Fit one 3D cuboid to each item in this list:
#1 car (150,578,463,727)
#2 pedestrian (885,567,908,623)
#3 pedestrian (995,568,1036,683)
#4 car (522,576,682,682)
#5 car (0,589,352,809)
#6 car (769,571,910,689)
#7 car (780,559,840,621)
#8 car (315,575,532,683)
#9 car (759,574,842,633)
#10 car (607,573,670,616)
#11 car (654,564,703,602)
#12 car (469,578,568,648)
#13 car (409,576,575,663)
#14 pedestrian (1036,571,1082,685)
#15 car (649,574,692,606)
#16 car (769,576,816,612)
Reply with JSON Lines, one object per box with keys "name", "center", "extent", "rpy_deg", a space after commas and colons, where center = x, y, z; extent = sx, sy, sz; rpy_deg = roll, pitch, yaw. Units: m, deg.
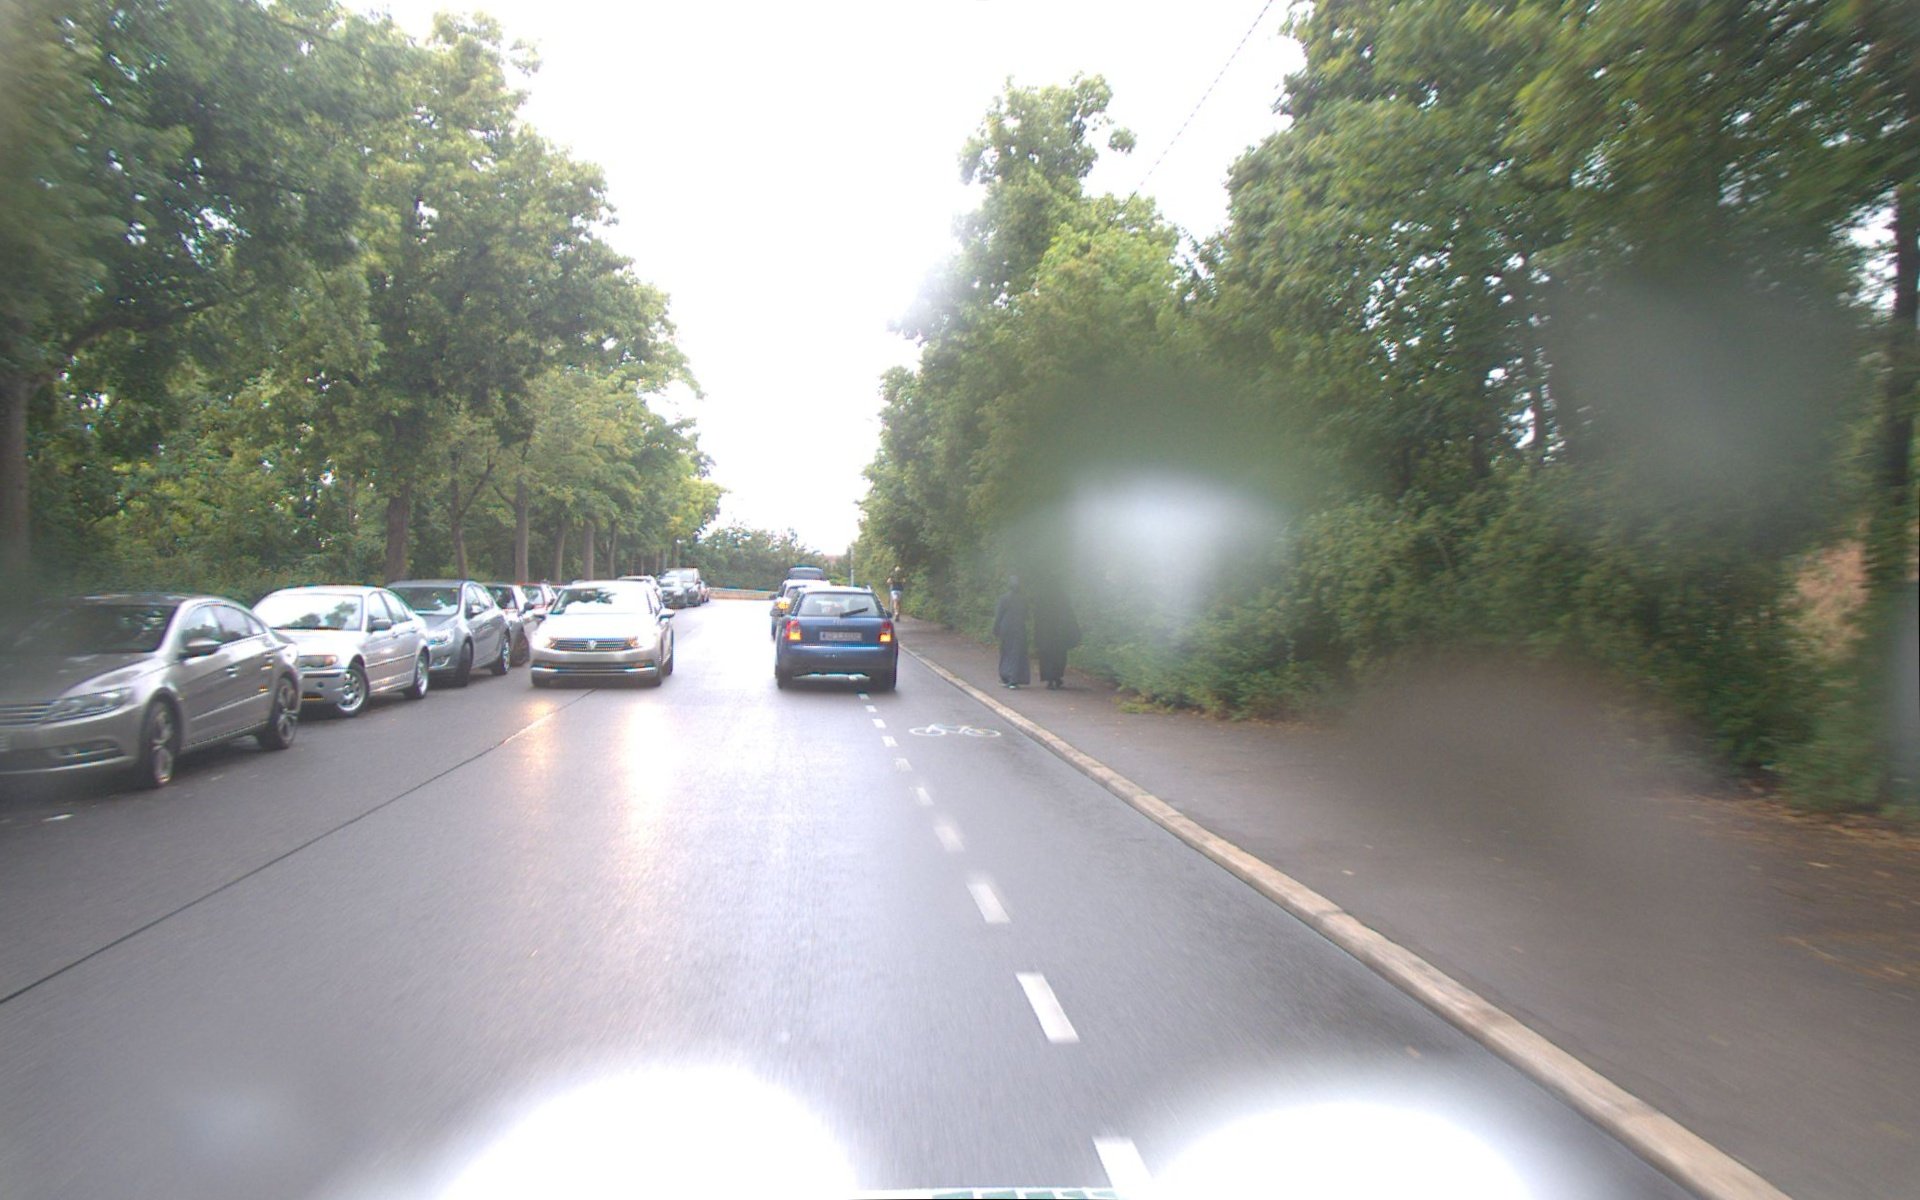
{"name": "car", "center": [-7.532, 0.518, 19.639], "extent": [1.953, 1.429, 4.713], "rpy_deg": [-1, 2, -2]}
{"name": "pedestrian", "center": [-2.162, -0.177, 56.348], "extent": [0.702, 1.867, 1.020], "rpy_deg": [-1, 1, -4]}
{"name": "pedestrian", "center": [0.782, 0.353, 23.385], "extent": [0.541, 1.594, 0.487], "rpy_deg": [-1, 0, -1]}
{"name": "car", "center": [-5.193, 0.378, 24.481], "extent": [1.847, 1.427, 4.251], "rpy_deg": [0, 0, -6]}
{"name": "car", "center": [-6.845, 0.657, 13.722], "extent": [1.954, 1.331, 5.351], "rpy_deg": [-1, 2, -4]}
{"name": "car", "center": [-1.878, 0.385, 24.605], "extent": [1.715, 1.431, 3.993], "rpy_deg": [3, 2, -9]}
{"name": "car", "center": [-5.596, -0.327, 61.374], "extent": [1.756, 1.987, 3.990], "rpy_deg": [-5, -2, -10]}
{"name": "car", "center": [-7.901, 0.379, 24.844], "extent": [1.954, 1.429, 4.710], "rpy_deg": [-1, 0, -4]}
{"name": "car", "center": [-4.079, 0.089, 41.840], "extent": [1.856, 1.413, 3.992], "rpy_deg": [0, 0, -9]}
{"name": "car", "center": [-11.346, -0.203, 58.573], "extent": [1.655, 1.462, 4.253], "rpy_deg": [0, 0, -4]}
{"name": "car", "center": [-14.265, -0.857, 84.127], "extent": [2.043, 1.851, 5.375], "rpy_deg": [0, 0, -5]}
{"name": "car", "center": [-9.261, 0.253, 34.932], "extent": [1.565, 1.386, 3.994], "rpy_deg": [0, 0, -8]}
{"name": "car", "center": [-8.486, 0.311, 30.405], "extent": [1.954, 1.429, 4.710], "rpy_deg": [-1, 0, -4]}
{"name": "pedestrian", "center": [1.391, 0.384, 23.400], "extent": [0.583, 1.594, 0.669], "rpy_deg": [0, 0, -2]}
{"name": "car", "center": [-13.622, -0.475, 77.918], "extent": [1.763, 1.462, 4.250], "rpy_deg": [0, 0, -7]}
{"name": "car", "center": [-7.813, -0.282, 76.959], "extent": [1.790, 1.645, 3.774], "rpy_deg": [-1, 0, -12]}
